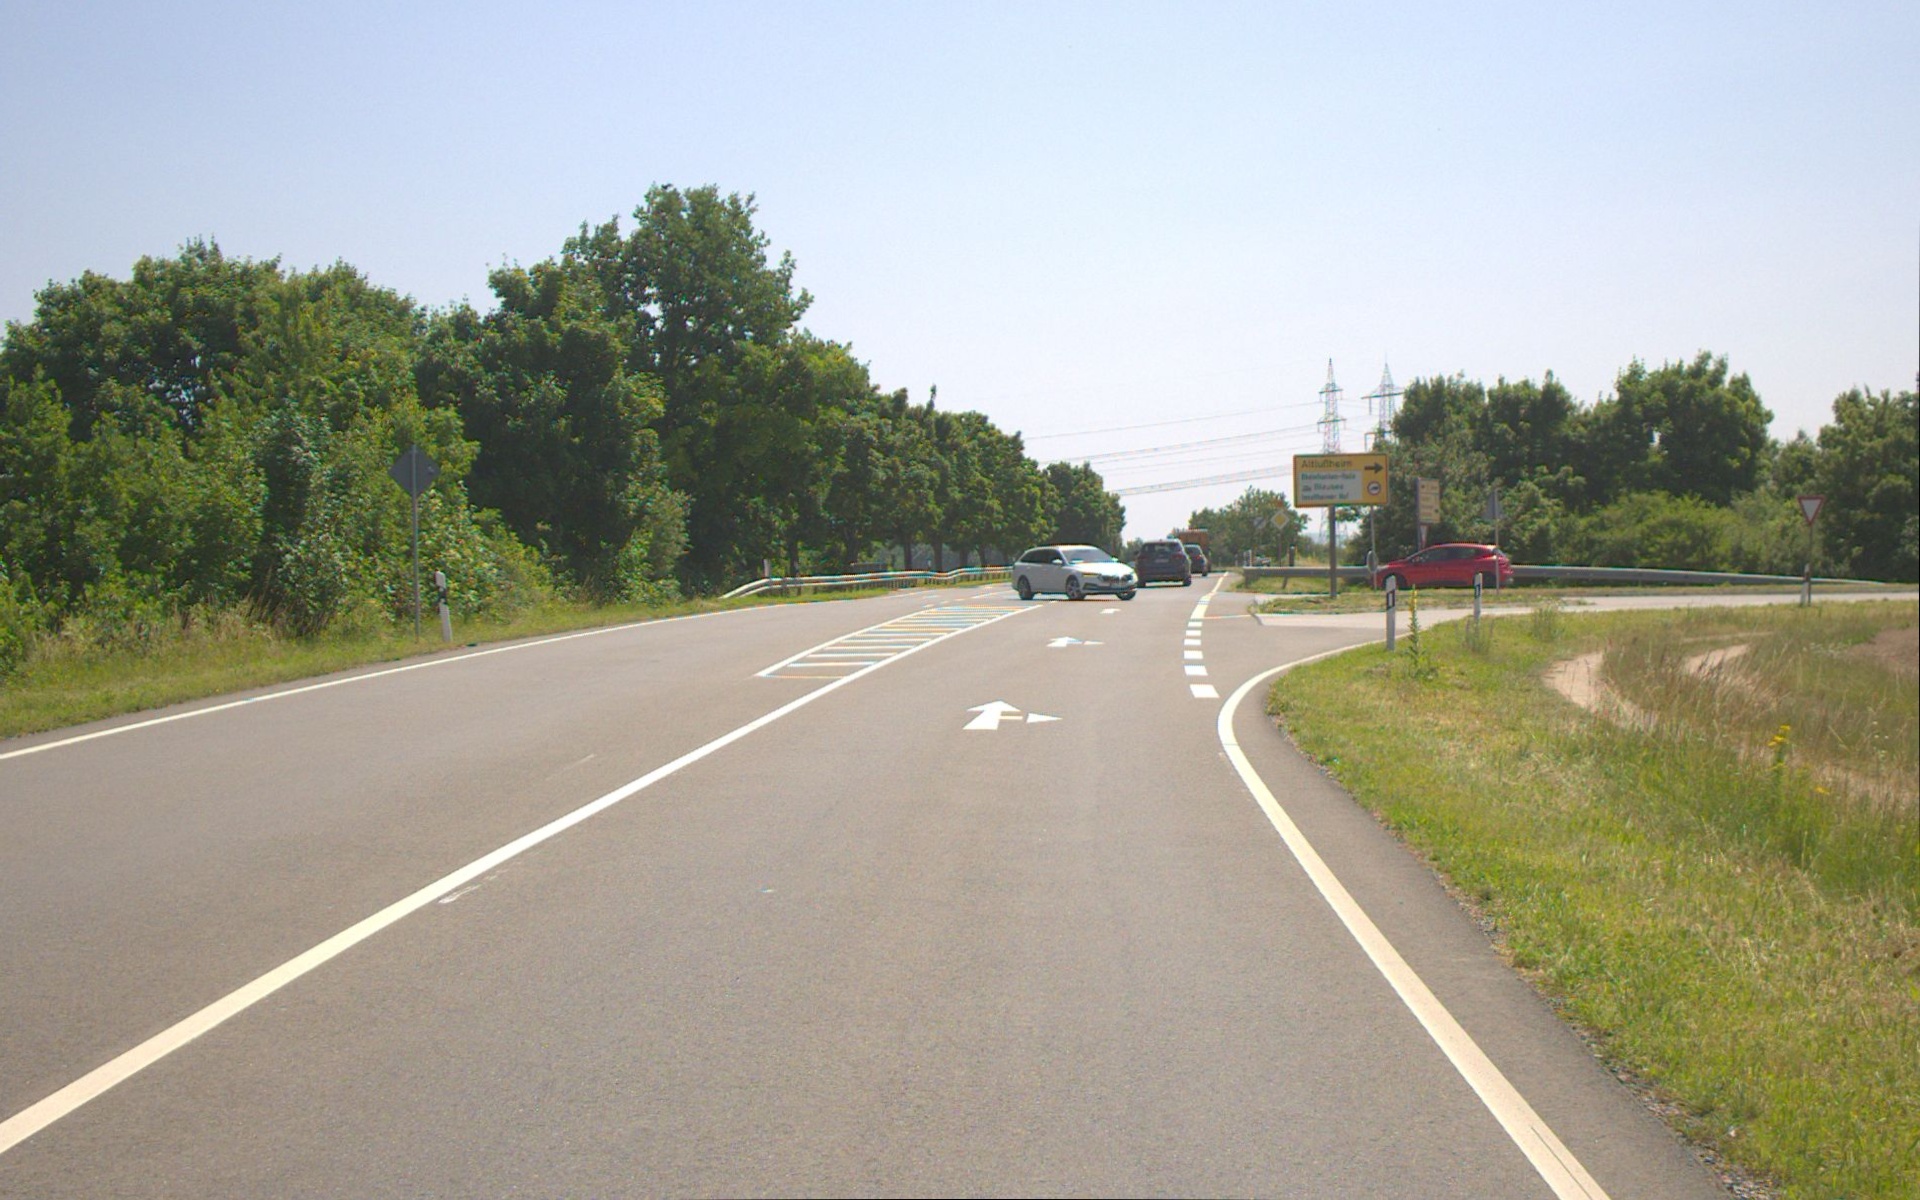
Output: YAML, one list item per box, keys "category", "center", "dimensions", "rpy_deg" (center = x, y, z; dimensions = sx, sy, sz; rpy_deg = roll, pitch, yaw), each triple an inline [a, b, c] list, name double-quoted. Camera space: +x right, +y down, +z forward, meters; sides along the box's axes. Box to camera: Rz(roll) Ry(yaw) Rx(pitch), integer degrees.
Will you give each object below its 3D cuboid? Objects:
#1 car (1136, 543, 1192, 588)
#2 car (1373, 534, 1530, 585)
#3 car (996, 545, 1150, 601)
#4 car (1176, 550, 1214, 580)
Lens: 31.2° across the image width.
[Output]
- category: "car"
  center: [7.148, -1.212, 120.525]
  dimensions: [1.885, 1.513, 4.039]
  rpy_deg: [1, 1, 3]
- category: "car"
  center: [13.980, -1.135, 97.765]
  dimensions: [4.156, 1.414, 1.778]
  rpy_deg: [0, 0, 18]
- category: "car"
  center: [3.012, -0.738, 92.696]
  dimensions: [1.835, 1.414, 4.716]
  rpy_deg: [0, 1, -31]
- category: "car"
  center: [10.705, -1.607, 156.670]
  dimensions: [1.644, 1.336, 4.039]
  rpy_deg: [1, 1, 3]
